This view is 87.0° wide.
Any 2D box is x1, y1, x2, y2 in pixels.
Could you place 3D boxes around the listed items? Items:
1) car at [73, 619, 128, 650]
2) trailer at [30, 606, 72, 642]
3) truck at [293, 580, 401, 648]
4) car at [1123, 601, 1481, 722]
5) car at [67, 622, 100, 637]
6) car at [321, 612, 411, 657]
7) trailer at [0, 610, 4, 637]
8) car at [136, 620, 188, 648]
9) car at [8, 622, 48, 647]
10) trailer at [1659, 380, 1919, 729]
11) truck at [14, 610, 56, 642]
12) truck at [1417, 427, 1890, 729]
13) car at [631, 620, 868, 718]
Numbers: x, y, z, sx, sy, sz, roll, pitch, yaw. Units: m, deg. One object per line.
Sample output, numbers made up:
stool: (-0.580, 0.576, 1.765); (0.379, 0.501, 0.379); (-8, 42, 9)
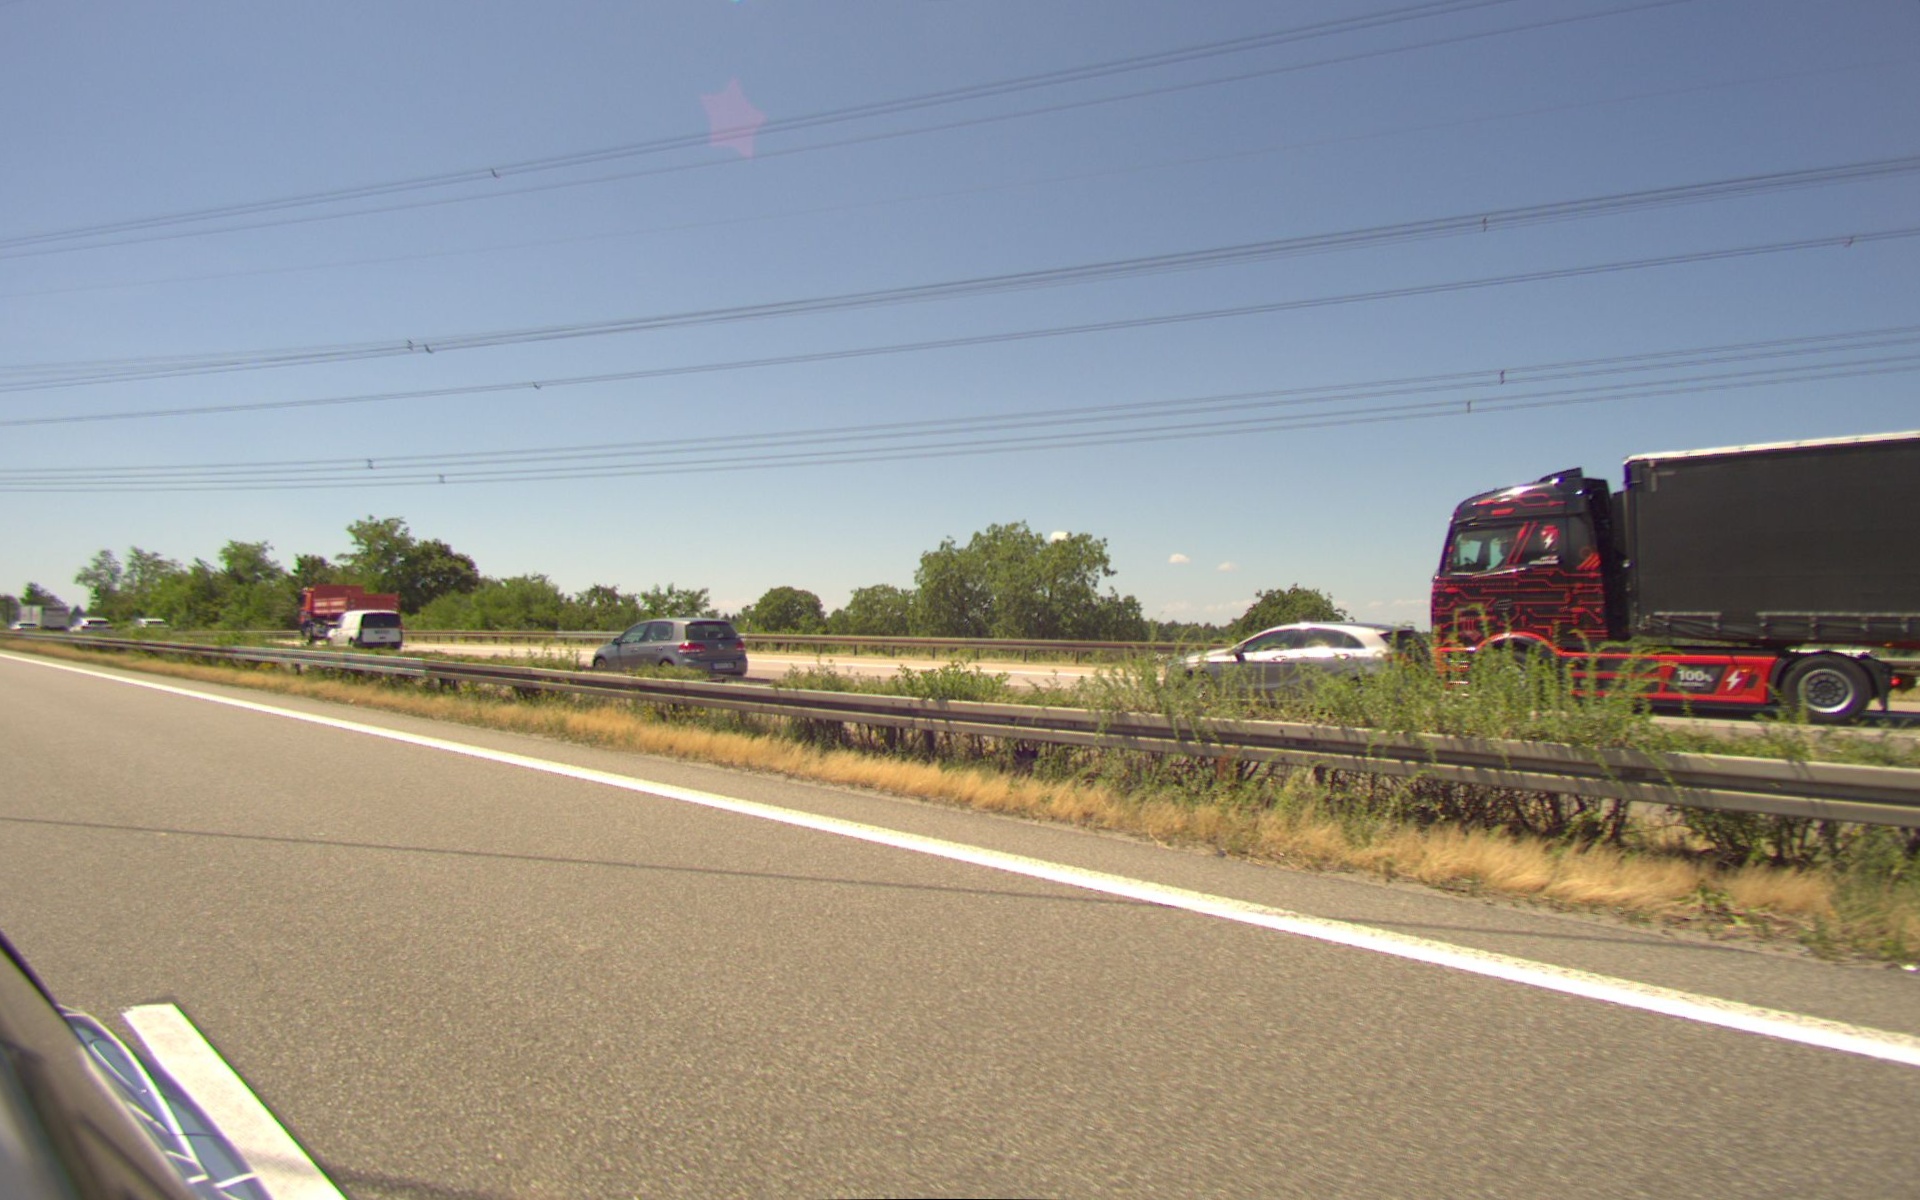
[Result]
car: (-53.637, 2.146, 63.108); (4.532, 1.867, 1.973); (-2, -1, 41)
trailer: (-110.943, 2.981, 123.476); (8.321, 4.196, 2.812); (-2, -1, 41)
truck: (-34.419, 0.853, 56.666); (8.529, 3.553, 2.741); (-2, -1, 41)
car: (5.251, 0.892, 16.052); (5.016, 1.630, 1.924); (-2, -1, 42)
car: (-93.099, 3.137, 107.468); (5.064, 1.598, 1.973); (-2, -1, 41)
car: (-24.693, 1.421, 42.006); (4.366, 1.787, 1.950); (-2, -1, 41)
trailer: (-159.900, 3.943, 166.410); (14.423, 4.322, 2.398); (-2, -1, 41)
car: (-53.073, 2.248, 67.287); (4.532, 1.774, 1.973); (-2, -1, 41)
car: (-79.261, 2.956, 86.037); (4.918, 2.029, 1.973); (-2, -1, 41)
trailer: (16.528, -0.659, 11.512); (13.860, 4.586, 2.621); (-1, -1, 42)
truck: (-118.308, 3.364, 129.347); (10.585, 3.980, 2.664); (-2, -1, 41)
truck: (10.982, -0.281, 16.449); (5.989, 4.013, 2.620); (0, 0, 42)
car: (-4.186, 1.258, 19.626); (5.013, 1.631, 1.809); (-2, -1, 41)
